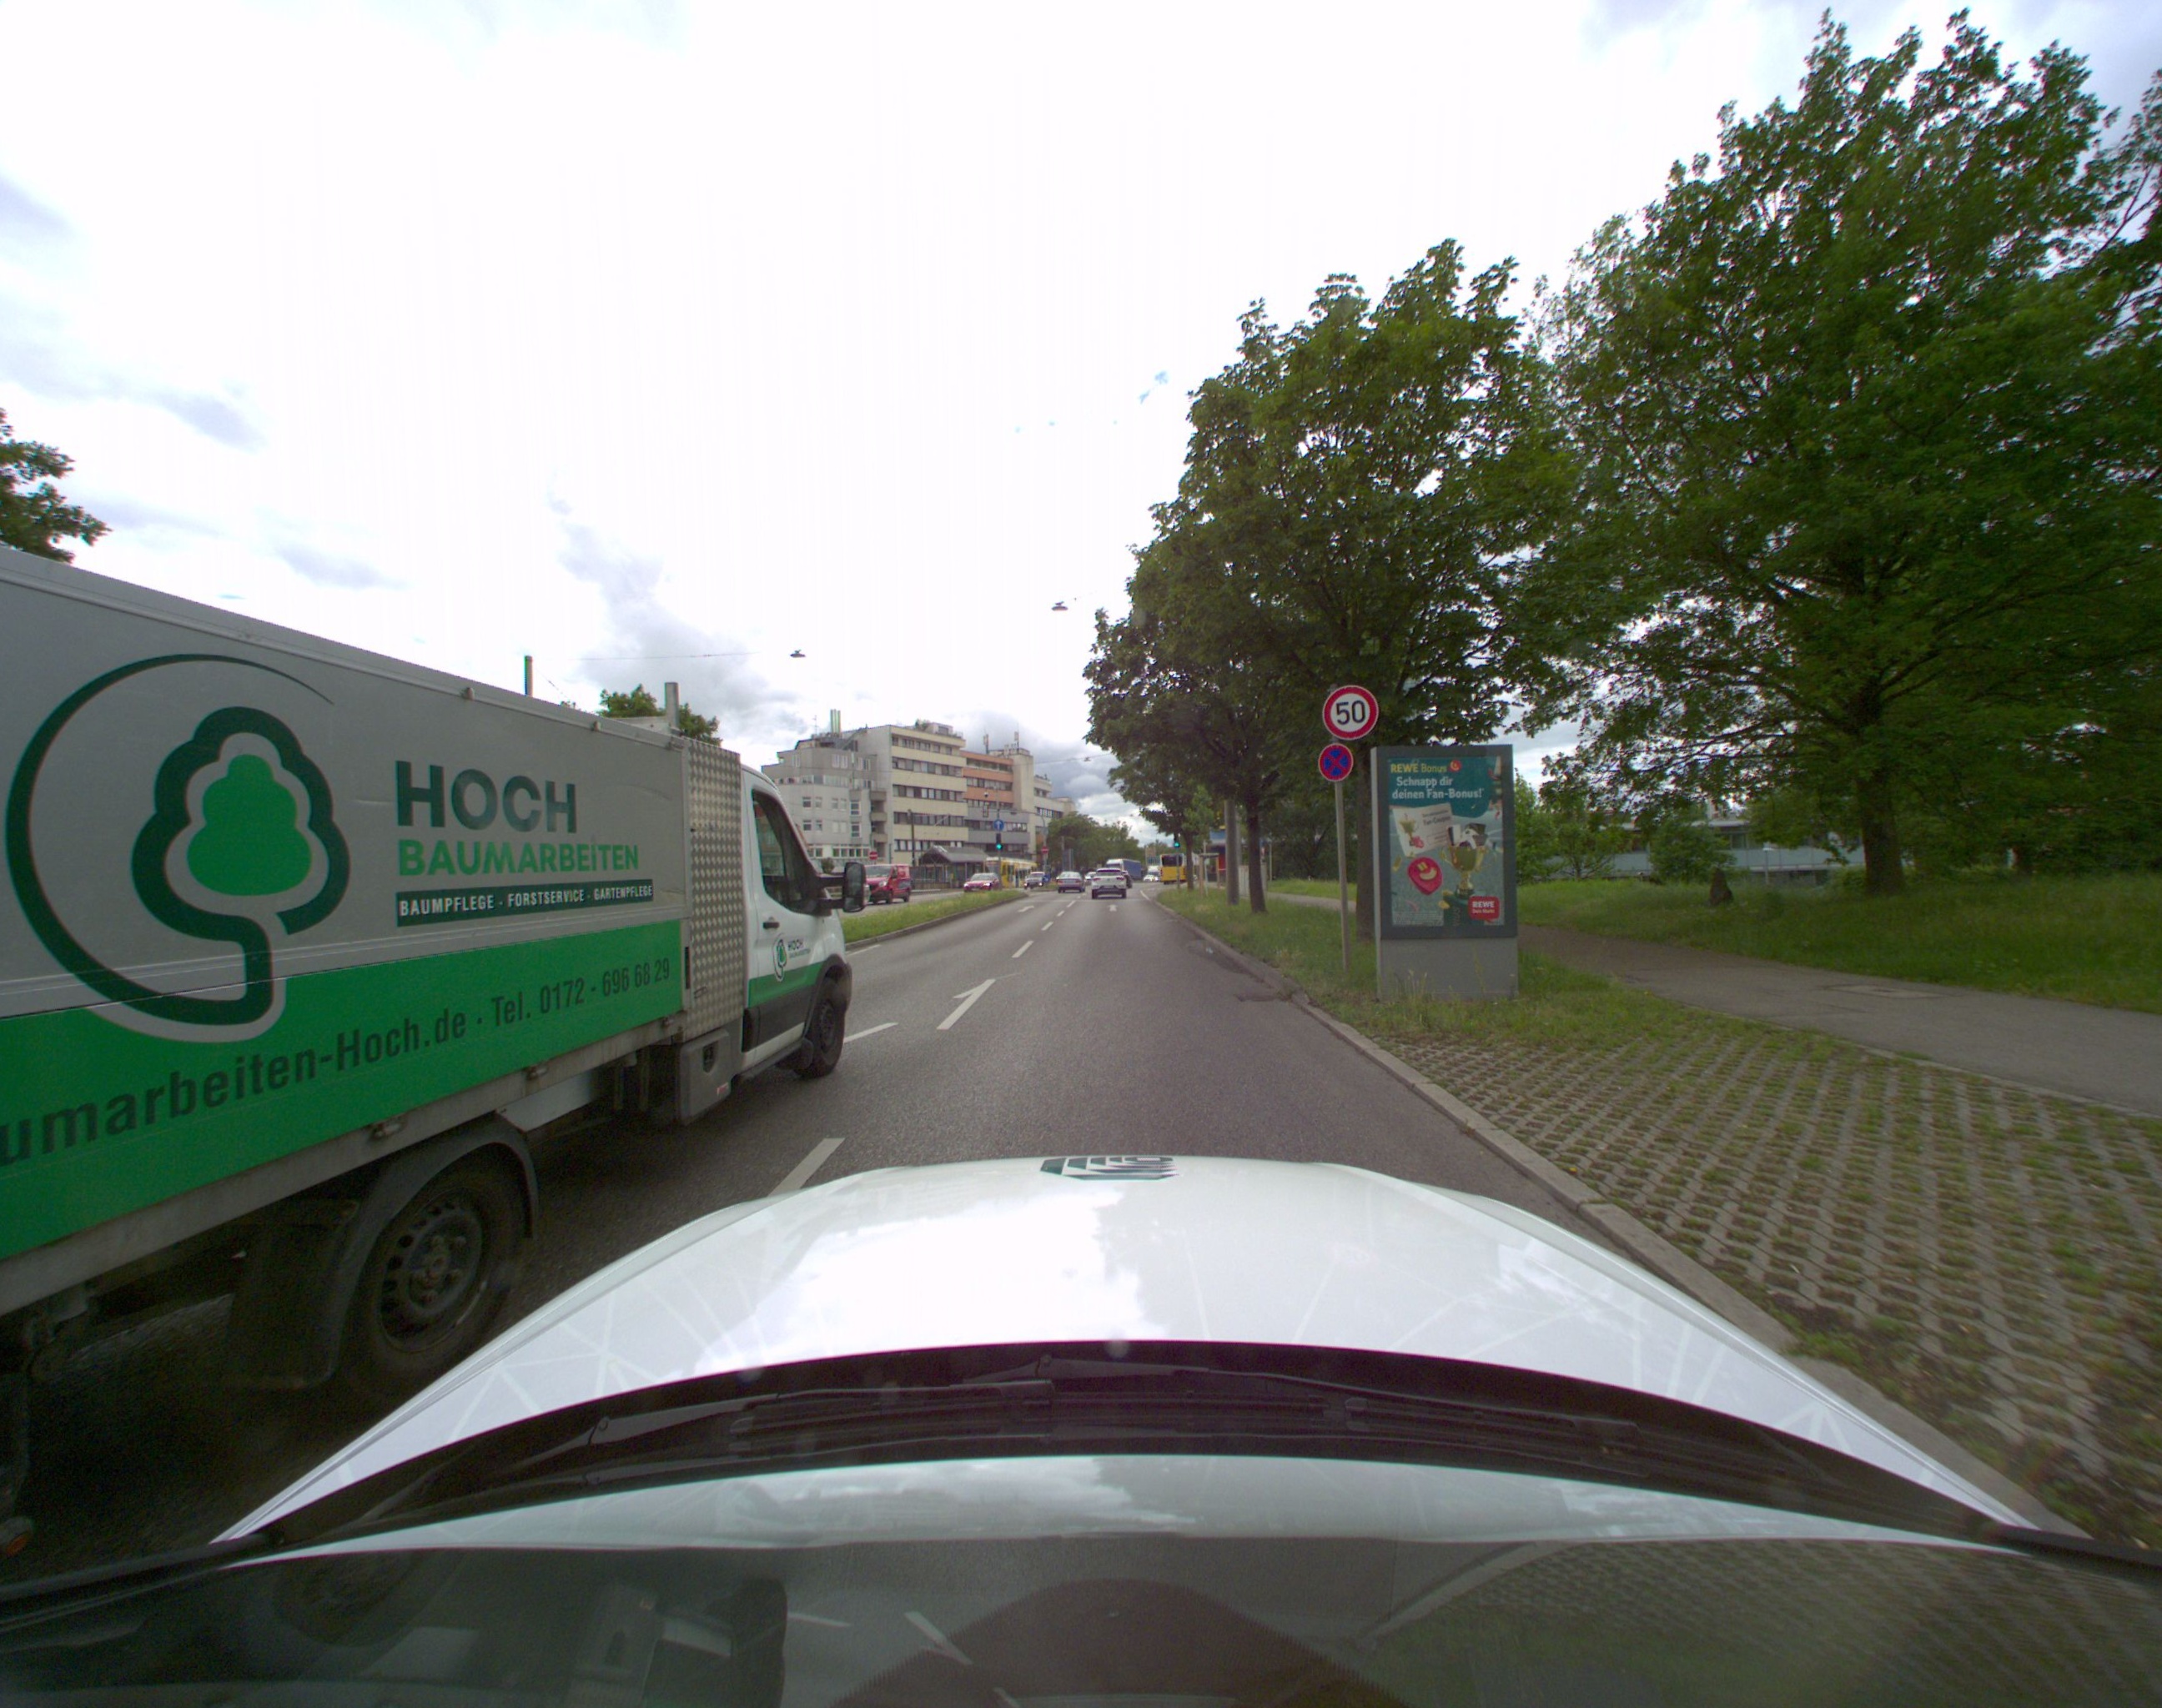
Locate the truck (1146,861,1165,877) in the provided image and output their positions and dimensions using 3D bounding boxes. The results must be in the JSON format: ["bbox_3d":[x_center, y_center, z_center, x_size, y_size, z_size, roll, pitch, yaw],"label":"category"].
[{"bbox_3d":[15.021,2.985,162.830,3.065,3.028,9.381,-2,-1,9],"label":"truck"}]

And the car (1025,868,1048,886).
[{"bbox_3d":[-3.758,1.963,69.140,1.607,1.446,3.654,-2,-2,2],"label":"car"}]

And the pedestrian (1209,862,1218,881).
[{"bbox_3d":[12.863,1.705,79.345,0.707,1.816,0.764,-1,-1,0],"label":"pedestrian"}]

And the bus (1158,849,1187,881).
[{"bbox_3d":[9.767,1.174,87.574,2.939,3.190,9.943,-1,-1,6],"label":"bus"}]

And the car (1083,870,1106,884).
[{"bbox_3d":[1.689,2.761,98.275,1.953,1.499,4.790,-1,-1,11],"label":"car"}]

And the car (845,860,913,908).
[{"bbox_3d":[-9.866,1.425,40.256,1.986,2.013,4.838,0,2,2],"label":"car"}]

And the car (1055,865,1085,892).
[{"bbox_3d":[-0.699,1.641,55.829,1.692,1.515,3.741,-1,2,4],"label":"car"}]

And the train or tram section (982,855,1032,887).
[{"bbox_3d":[-8.652,2.037,97.713,2.544,3.411,13.116,-2,-1,10],"label":"train or tram section"}]

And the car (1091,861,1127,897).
[{"bbox_3d":[1.487,1.270,42.454,1.692,1.548,3.741,2,2,4],"label":"car"}]

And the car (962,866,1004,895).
[{"bbox_3d":[-6.278,1.674,52.746,1.986,1.590,4.838,0,2,2],"label":"car"}]

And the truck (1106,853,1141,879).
[{"bbox_3d":[7.308,2.026,136.430,2.934,4.080,16.658,-1,-1,13],"label":"truck"}]

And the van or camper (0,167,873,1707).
[{"bbox_3d":[-2.921,0.234,3.924,2.336,2.662,5.963,0,0,-1],"label":"van or camper"}]

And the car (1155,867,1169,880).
[{"bbox_3d":[11.578,2.774,116.000,1.761,1.570,4.294,-1,2,7],"label":"car"}]

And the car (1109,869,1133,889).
[{"bbox_3d":[3.428,2.116,69.241,1.690,1.516,3.502,-1,0,9],"label":"car"}]
